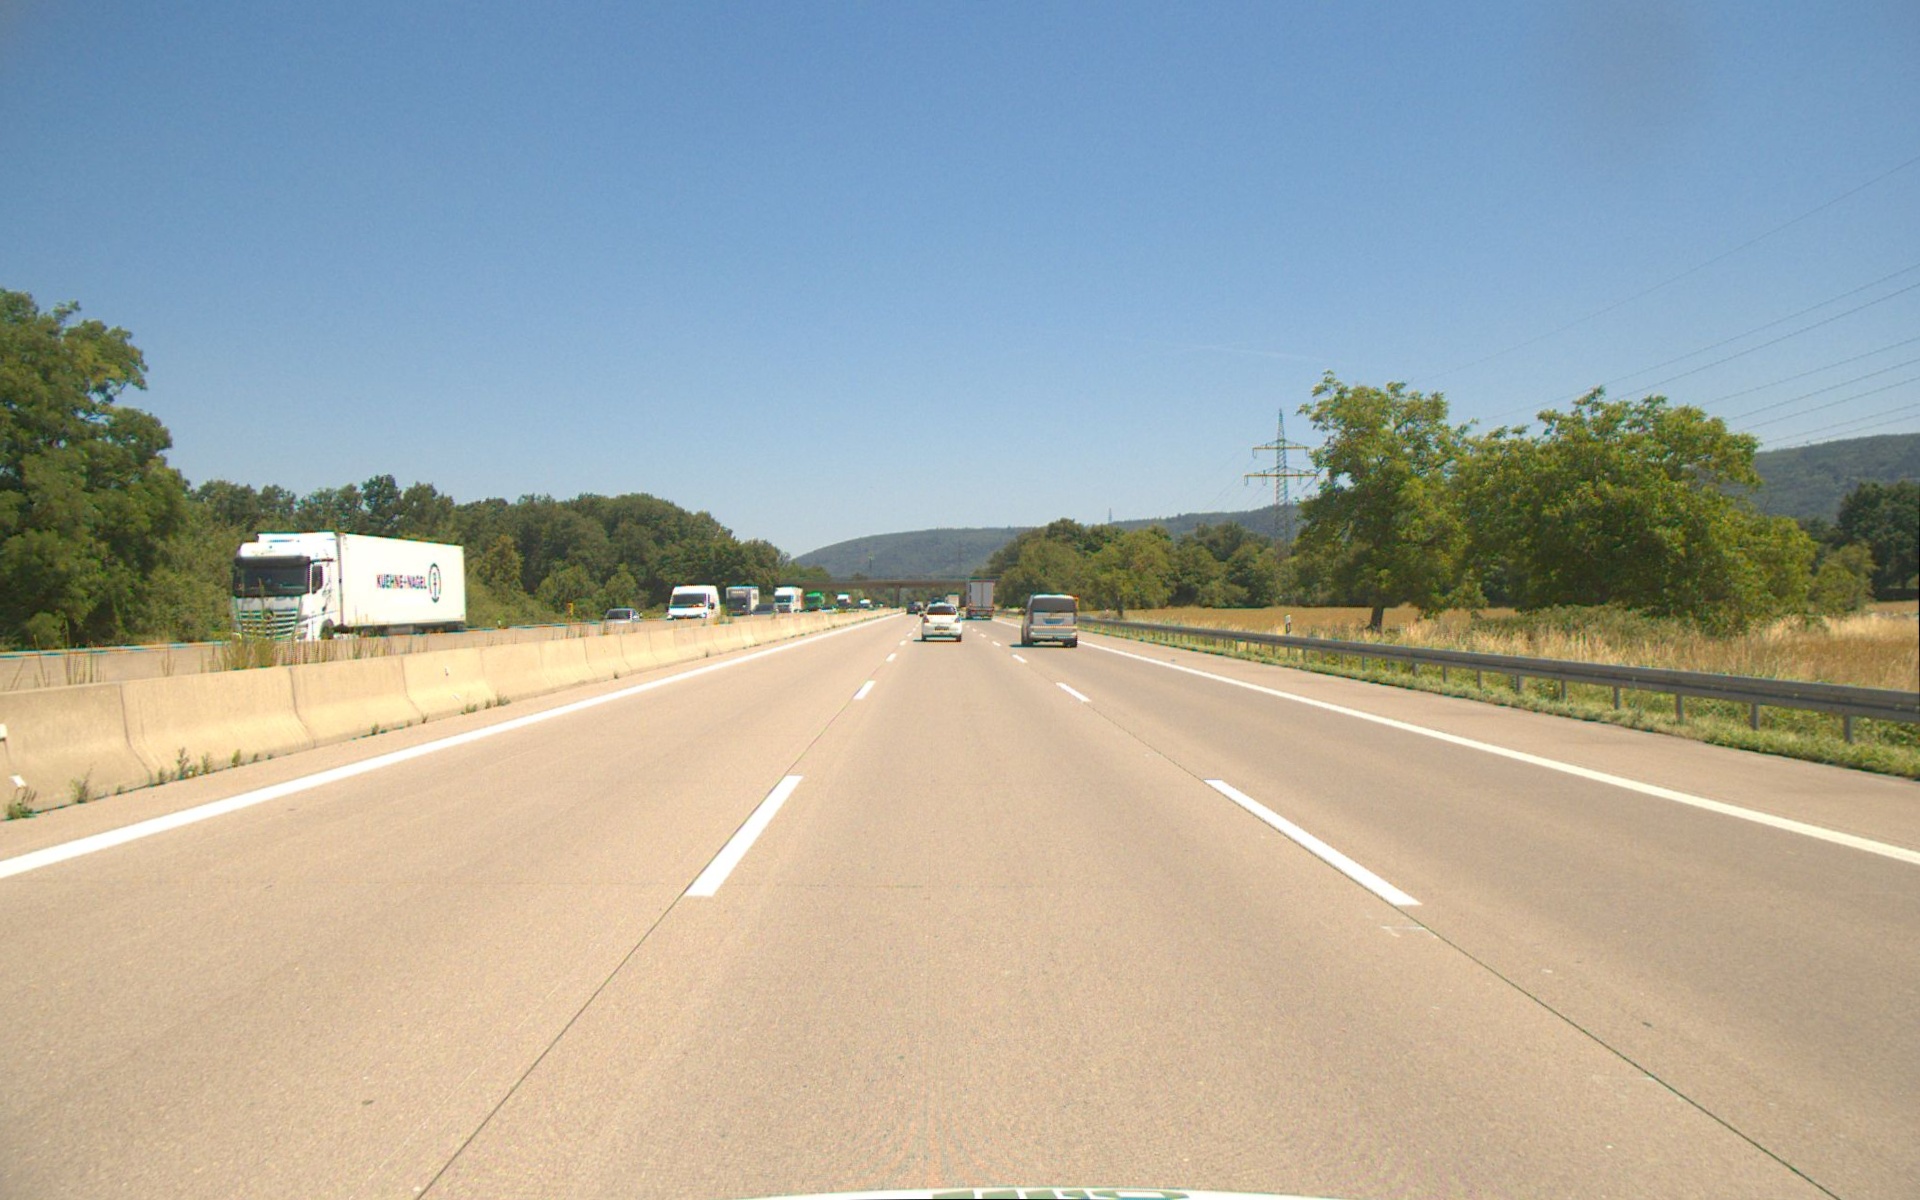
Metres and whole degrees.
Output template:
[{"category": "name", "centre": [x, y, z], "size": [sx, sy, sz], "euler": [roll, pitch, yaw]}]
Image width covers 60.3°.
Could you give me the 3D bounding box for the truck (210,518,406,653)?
[{"category": "truck", "centre": [-20.745, -0.443, 53.297], "size": [3.097, 3.977, 8.370], "euler": [1, 0, -1]}]

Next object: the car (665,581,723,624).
[{"category": "car", "centre": [-13.132, 0.113, 81.936], "size": [2.026, 2.049, 5.979], "euler": [1, 0, -1]}]

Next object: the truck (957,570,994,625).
[{"category": "truck", "centre": [1.646, -0.284, 182.393], "size": [3.646, 5.913, 7.050], "euler": [1, 0, -2]}]

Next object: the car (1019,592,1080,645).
[{"category": "car", "centre": [3.313, 0.661, 61.761], "size": [1.953, 1.881, 3.999], "euler": [1, 0, -1]}]

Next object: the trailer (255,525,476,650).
[{"category": "trailer", "centre": [-20.864, -0.421, 59.361], "size": [3.097, 3.905, 14.027], "euler": [1, 0, -1]}]

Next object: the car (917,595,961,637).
[{"category": "car", "centre": [-0.897, 0.639, 68.773], "size": [1.782, 1.691, 3.999], "euler": [0, 0, -1]}]

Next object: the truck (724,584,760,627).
[{"category": "truck", "centre": [-21.574, 0.542, 163.867], "size": [2.893, 4.200, 5.085], "euler": [1, 0, 0]}]

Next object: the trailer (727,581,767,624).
[{"category": "trailer", "centre": [-21.593, 0.263, 167.918], "size": [2.893, 4.177, 8.483], "euler": [1, 0, 0]}]

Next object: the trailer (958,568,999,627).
[{"category": "trailer", "centre": [1.908, -0.265, 175.749], "size": [3.646, 5.913, 12.156], "euler": [1, 0, -2]}]

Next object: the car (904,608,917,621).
[{"category": "car", "centre": [-7.278, 2.109, 243.961], "size": [1.890, 1.825, 3.999], "euler": [1, 0, -2]}]
